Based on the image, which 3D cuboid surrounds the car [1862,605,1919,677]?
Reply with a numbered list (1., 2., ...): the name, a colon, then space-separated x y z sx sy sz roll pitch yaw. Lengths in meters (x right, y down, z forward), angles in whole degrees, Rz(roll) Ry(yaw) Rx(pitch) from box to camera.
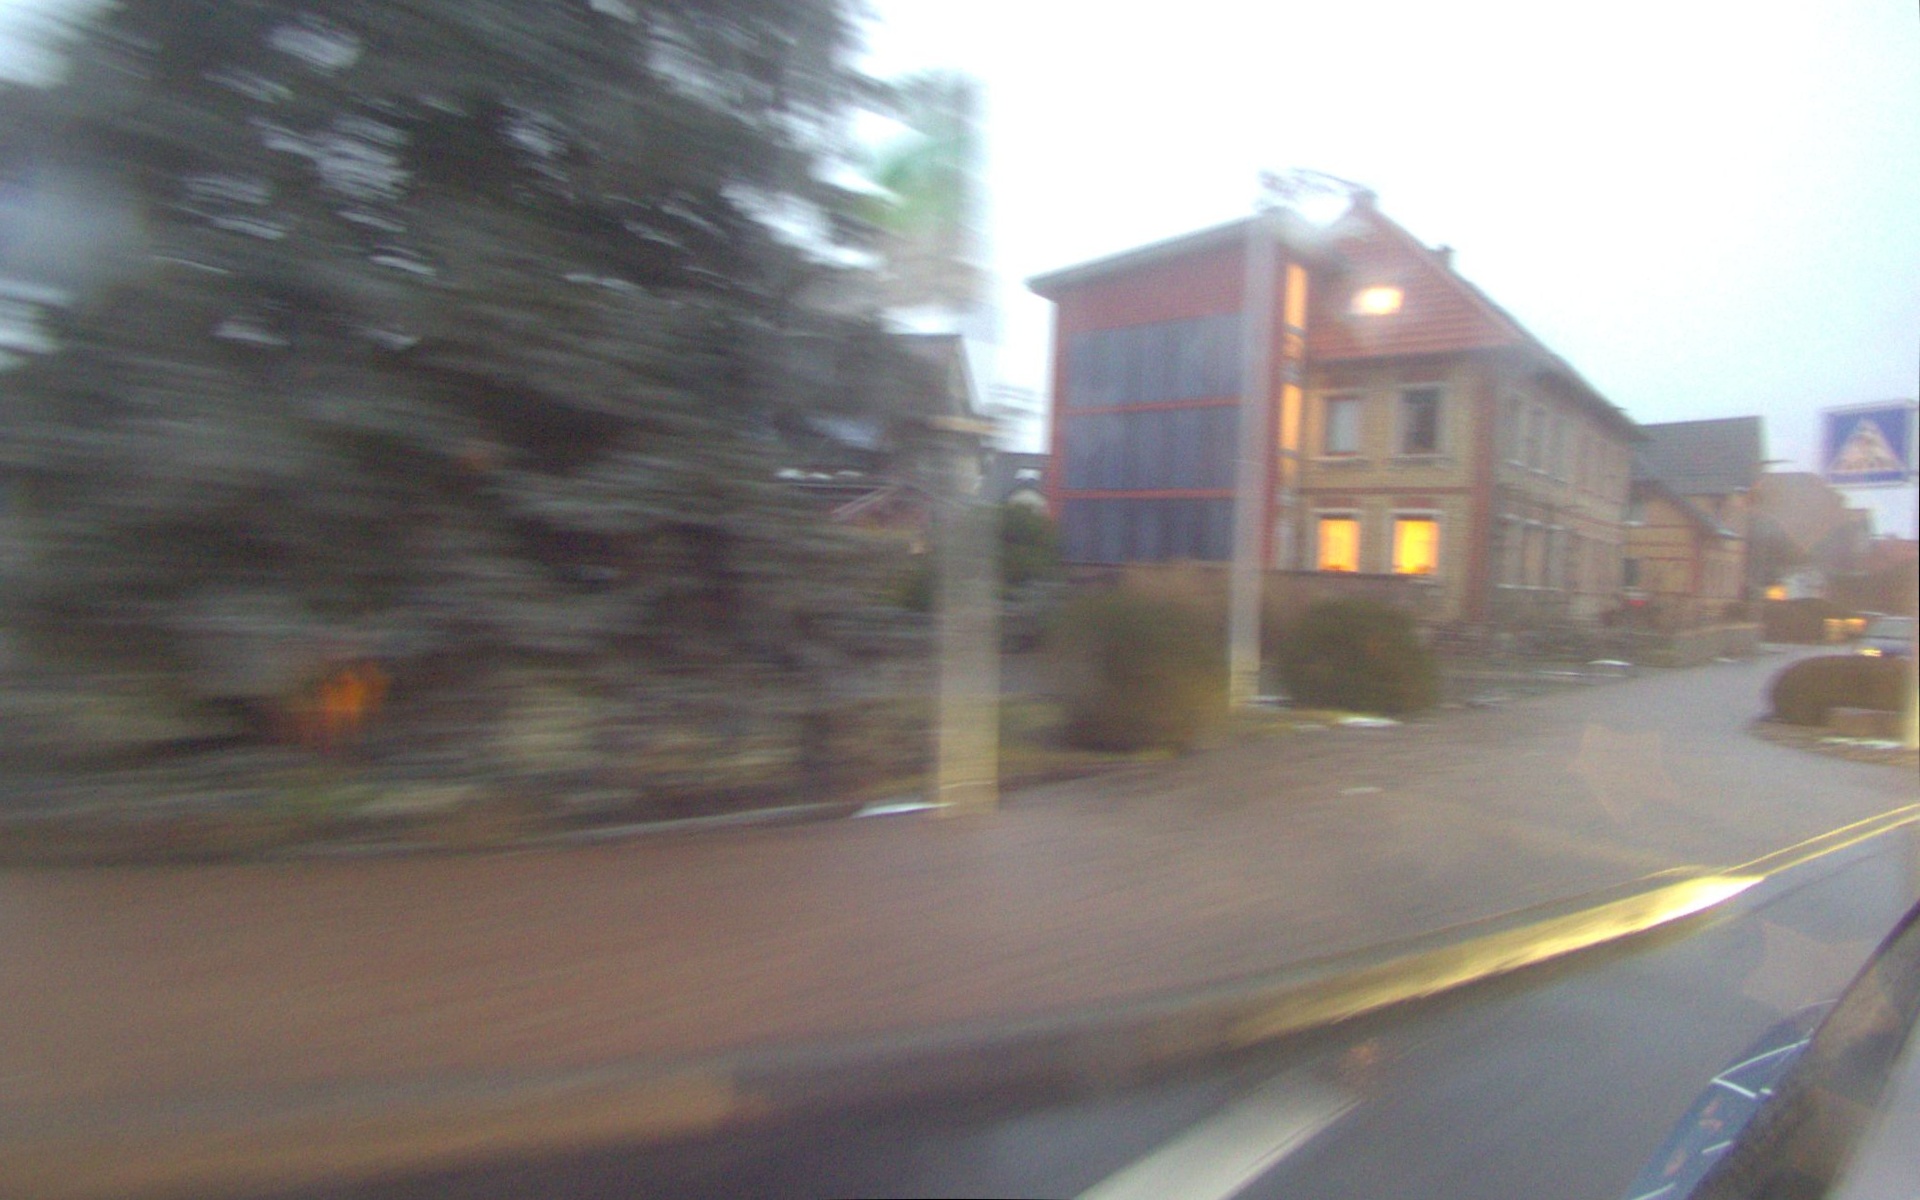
1. car: 20.816 0.865 21.856 3.734 1.449 1.772 1 0 -45
